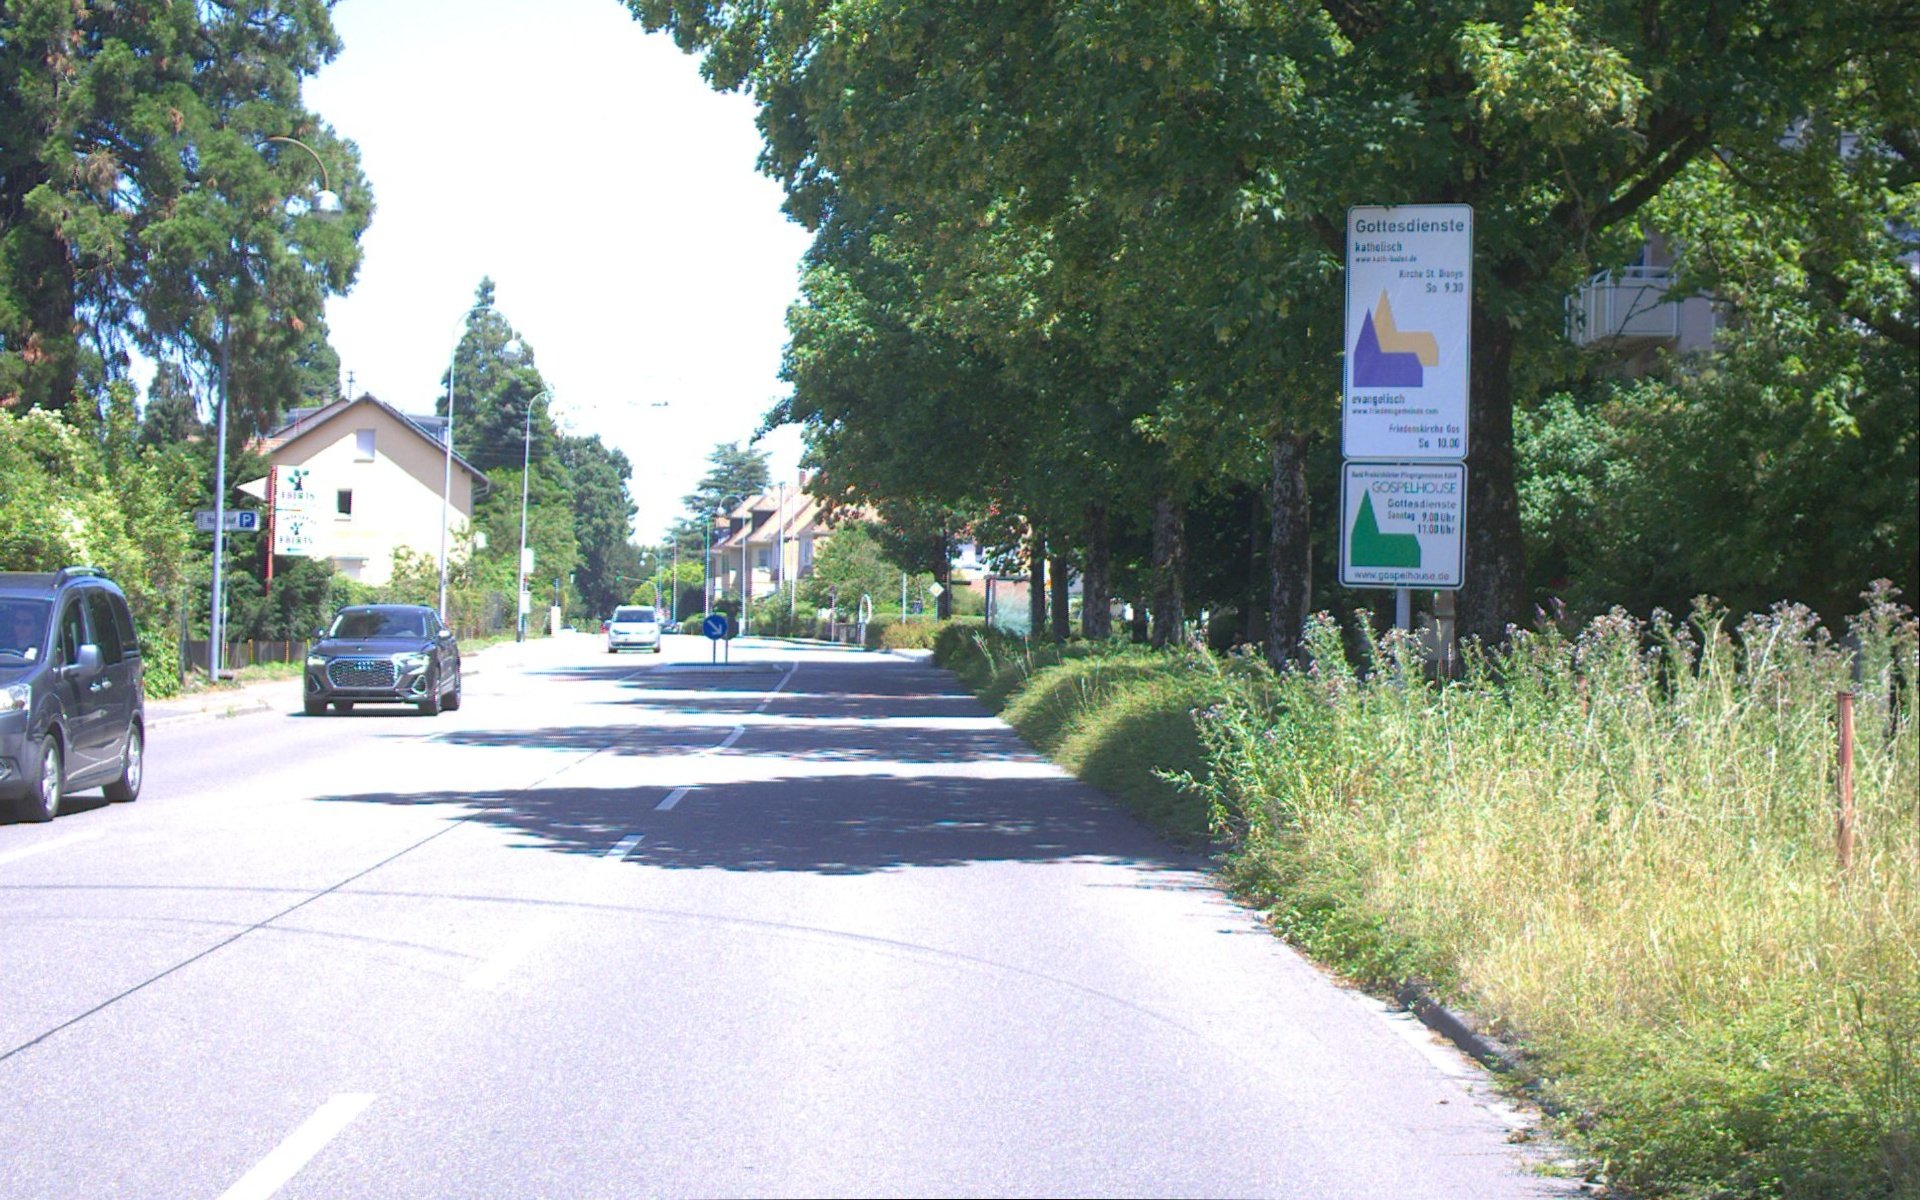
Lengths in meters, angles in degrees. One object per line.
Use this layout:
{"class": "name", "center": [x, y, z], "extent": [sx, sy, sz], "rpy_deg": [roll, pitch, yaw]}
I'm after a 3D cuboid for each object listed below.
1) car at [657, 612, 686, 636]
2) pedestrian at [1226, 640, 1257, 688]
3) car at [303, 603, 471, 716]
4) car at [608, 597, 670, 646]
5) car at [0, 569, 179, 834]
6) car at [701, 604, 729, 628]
{"class": "car", "center": [-21.191, 1.744, 252.784], "extent": [1.815, 1.712, 4.000], "rpy_deg": [1, 0, -1]}
{"class": "pedestrian", "center": [6.854, 1.553, 83.803], "extent": [0.704, 1.156, 0.754], "rpy_deg": [1, 0, 2]}
{"class": "car", "center": [-8.219, 0.831, 49.618], "extent": [1.793, 1.531, 4.315], "rpy_deg": [1, 0, -1]}
{"class": "car", "center": [-11.154, 0.746, 119.646], "extent": [1.912, 1.683, 4.125], "rpy_deg": [0, 0, -2]}
{"class": "car", "center": [-7.124, 0.668, 25.008], "extent": [1.811, 1.756, 4.570], "rpy_deg": [0, 0, 1]}
{"class": "car", "center": [-18.004, 1.202, 252.972], "extent": [1.815, 1.712, 4.000], "rpy_deg": [1, 0, -1]}
